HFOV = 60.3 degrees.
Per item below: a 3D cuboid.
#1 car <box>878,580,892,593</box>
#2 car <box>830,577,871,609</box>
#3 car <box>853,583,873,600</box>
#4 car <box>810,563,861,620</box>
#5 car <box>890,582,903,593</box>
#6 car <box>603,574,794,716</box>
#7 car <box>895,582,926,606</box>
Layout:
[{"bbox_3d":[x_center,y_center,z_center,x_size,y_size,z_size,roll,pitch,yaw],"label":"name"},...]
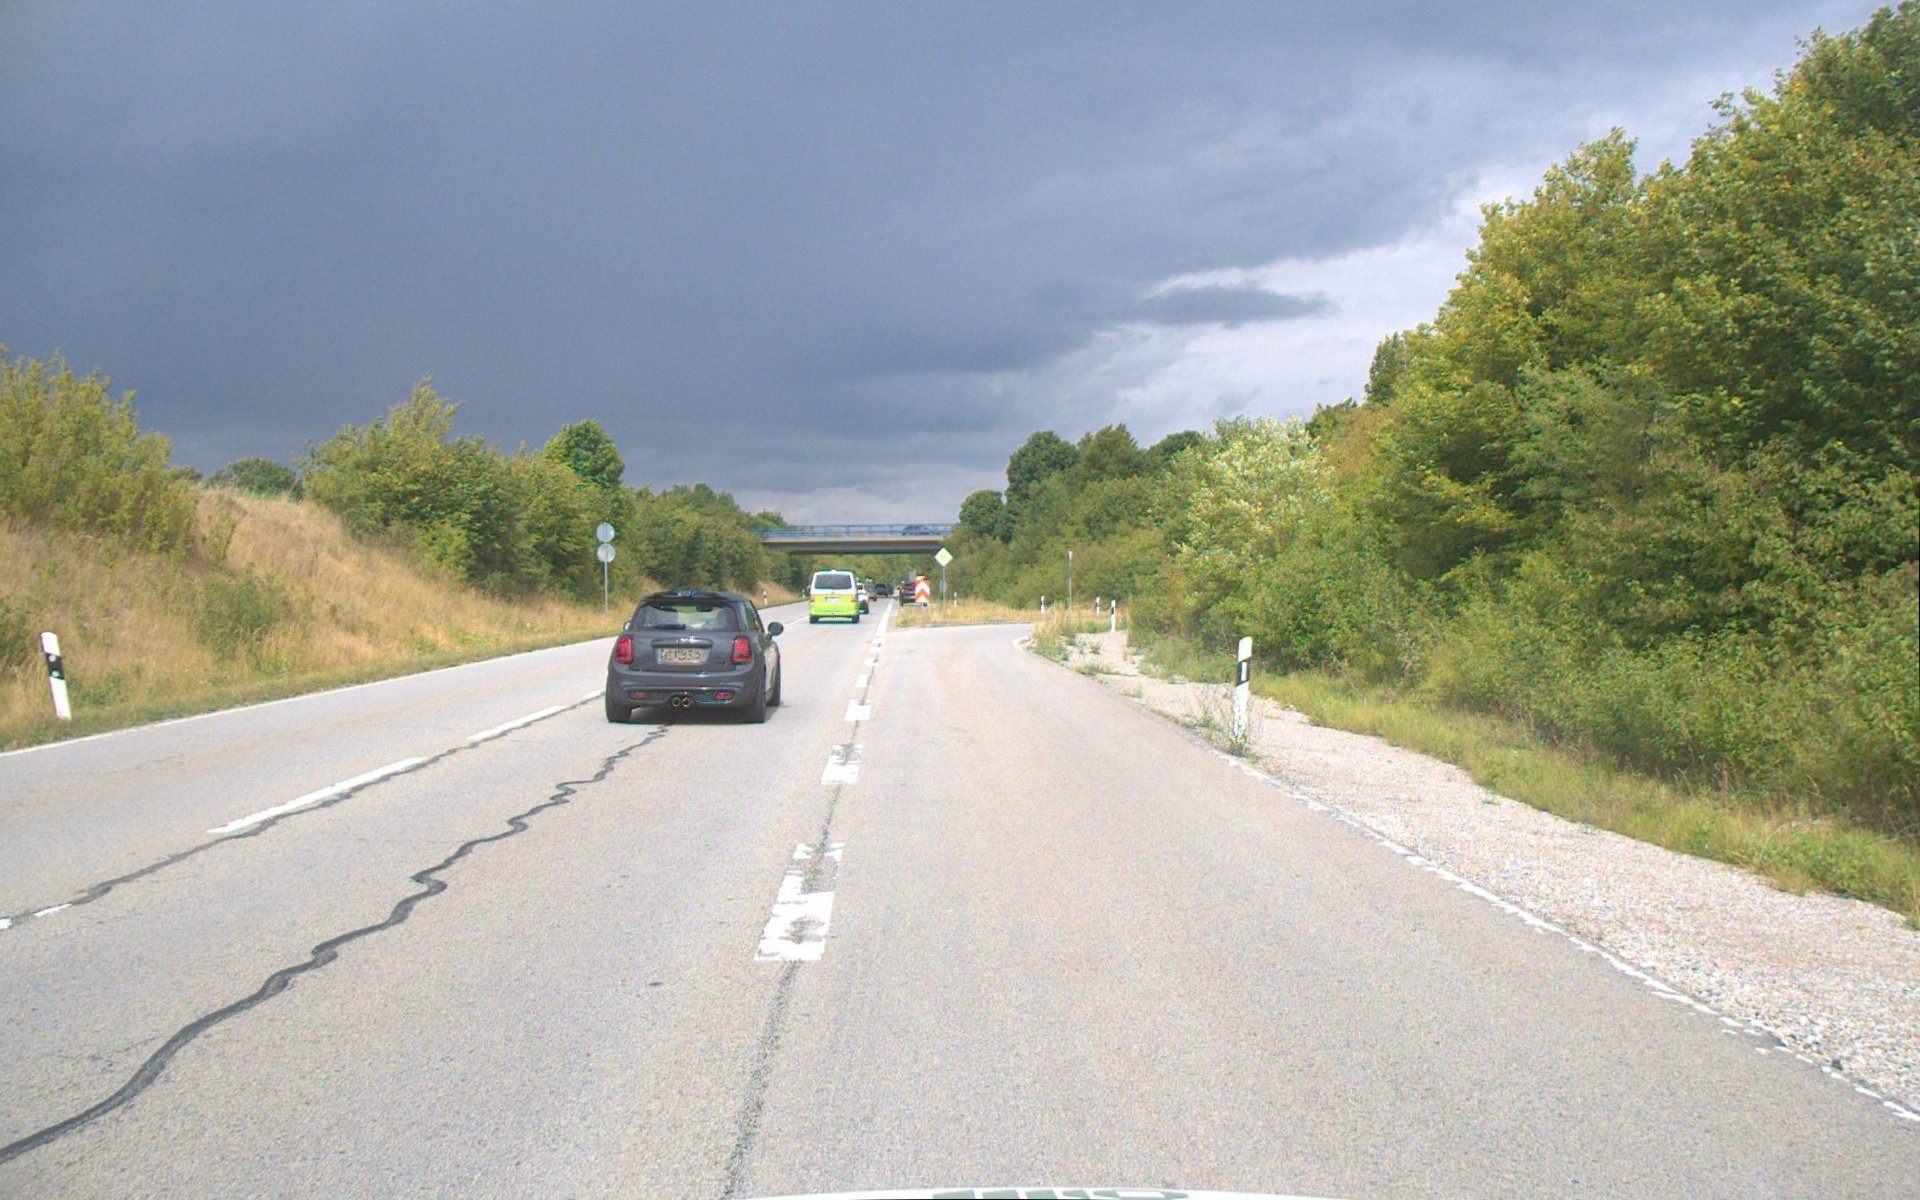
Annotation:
[{"bbox_3d":[-8.974,-1.629,198.014,1.633,1.427,3.999,1,1,-2],"label":"car"},{"bbox_3d":[-5.563,-0.358,84.552,1.953,1.579,3.998,1,1,-2],"label":"car"},{"bbox_3d":[-8.533,-0.769,145.308,1.633,1.427,3.998,1,1,-2],"label":"car"},{"bbox_3d":[-4.781,-0.350,63.950,1.783,2.090,3.998,1,0,-2],"label":"car"},{"bbox_3d":[-8.471,-1.636,221.351,1.633,1.427,4.000,1,1,0],"label":"car"},{"bbox_3d":[-2.936,0.449,19.295,1.721,1.452,3.998,1,1,-2],"label":"car"},{"bbox_3d":[-3.436,-0.407,114.276,1.954,1.579,3.997,1,1,-4],"label":"car"}]
